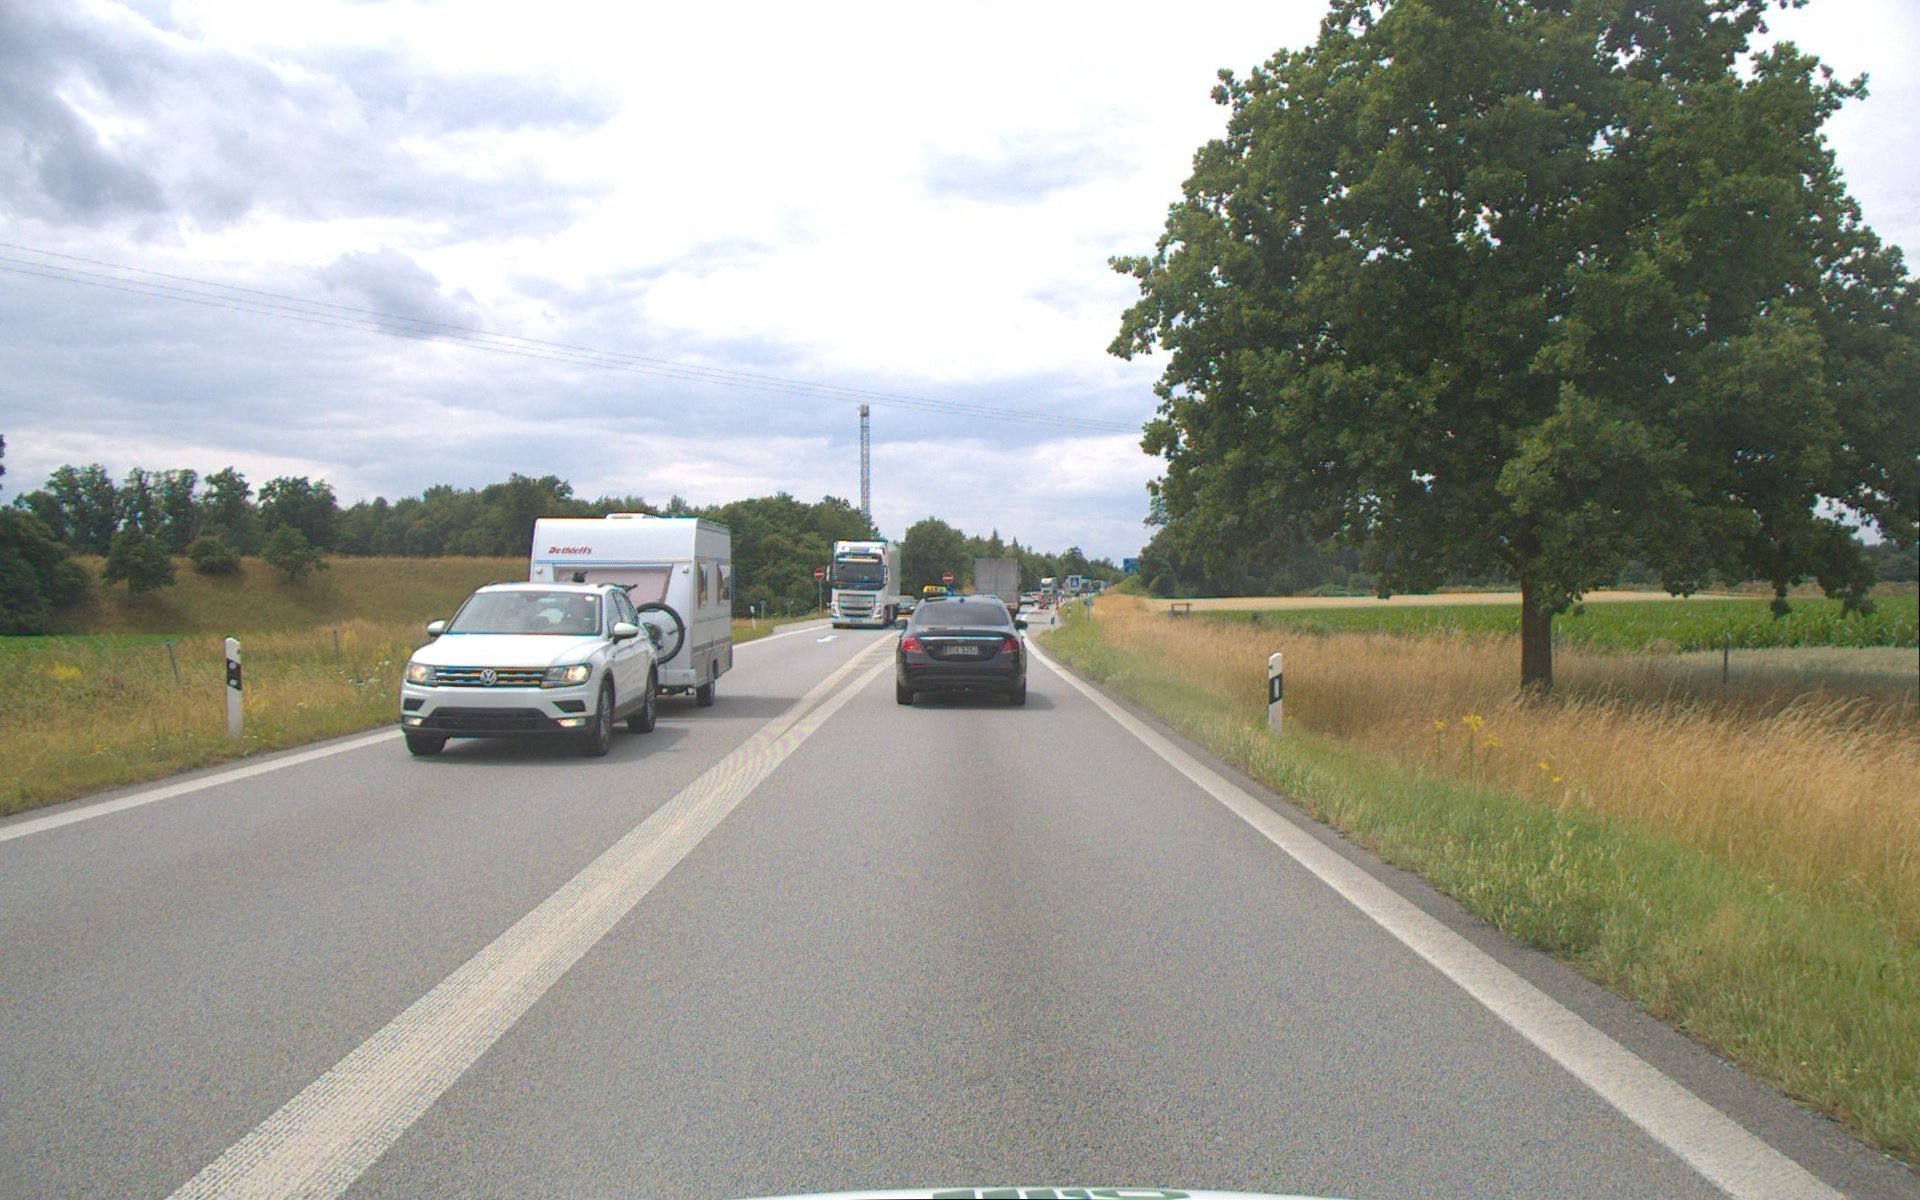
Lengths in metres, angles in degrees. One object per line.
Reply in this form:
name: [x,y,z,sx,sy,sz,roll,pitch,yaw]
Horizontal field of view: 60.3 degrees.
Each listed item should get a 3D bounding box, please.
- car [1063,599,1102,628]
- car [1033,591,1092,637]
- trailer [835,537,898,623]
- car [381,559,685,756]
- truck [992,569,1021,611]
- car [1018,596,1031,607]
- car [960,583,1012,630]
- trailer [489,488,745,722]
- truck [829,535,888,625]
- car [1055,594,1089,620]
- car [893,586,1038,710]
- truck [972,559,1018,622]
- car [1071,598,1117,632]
car: [7.356,0.785,99.521,1.760,1.691,3.996,1,0,-4]
car: [4.008,0.545,65.259,1.760,1.691,3.996,1,0,-4]
trailer: [-4.645,-0.992,84.263,2.438,4.065,13.076,0,0,0]
car: [-4.105,0.515,16.678,1.965,1.686,4.326,1,0,-1]
truck: [3.998,-0.849,142.599,1.954,3.587,4.588,1,0,-4]
car: [8.221,0.216,211.291,1.615,1.420,3.706,1,0,0]
car: [1.150,0.292,74.329,1.954,2.049,3.996,1,0,-4]
trailer: [-4.316,0.073,21.995,2.137,2.620,6.242,1,0,-1]
truck: [-4.712,-0.926,77.434,2.438,4.065,5.204,0,0,0]
car: [7.620,0.465,112.978,1.760,1.691,3.996,1,0,-4]
car: [-0.005,0.641,23.621,1.760,1.587,3.996,1,0,-4]
truck: [2.142,-0.542,99.190,2.533,3.586,4.814,1,0,3]
car: [6.808,0.765,84.403,1.760,1.691,3.996,1,0,-4]
